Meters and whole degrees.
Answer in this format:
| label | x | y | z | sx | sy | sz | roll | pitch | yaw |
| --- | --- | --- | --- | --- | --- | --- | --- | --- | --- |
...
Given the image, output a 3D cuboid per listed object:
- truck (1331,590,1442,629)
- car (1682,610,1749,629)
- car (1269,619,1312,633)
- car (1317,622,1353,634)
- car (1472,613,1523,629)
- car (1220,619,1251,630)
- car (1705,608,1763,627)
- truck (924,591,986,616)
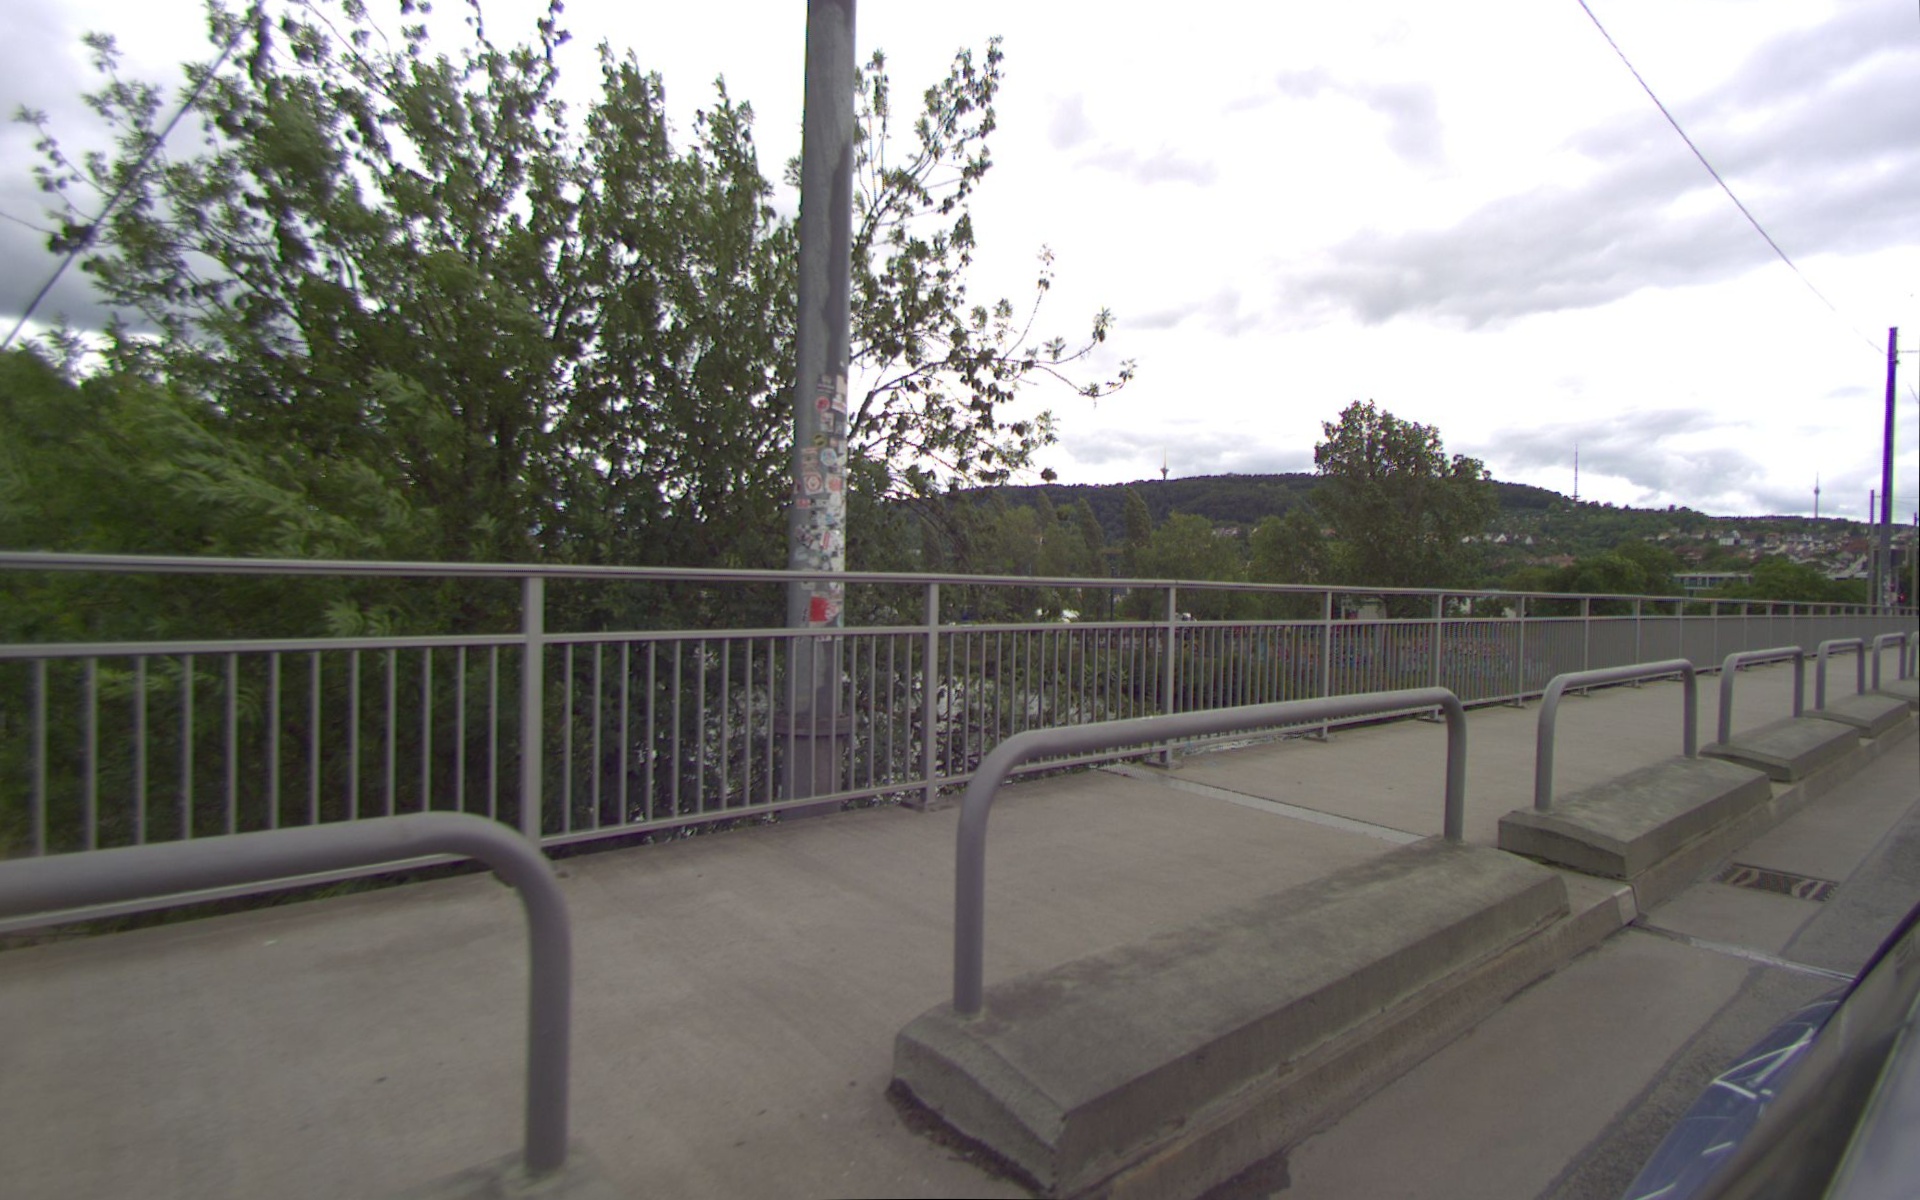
| label | x | y | z | sx | sy | sz | roll | pitch | yaw |
| --- | --- | --- | --- | --- | --- | --- | --- | --- | --- |
| truck | 44.598 | 0.942 | 106.222 | 3.173 | 3.928 | 10.403 | 2 | -1 | -43 |
| car | 65.430 | 1.665 | 87.690 | 1.965 | 1.640 | 4.335 | -1 | 0 | -41 |
| car | 38.022 | 2.931 | 116.377 | 1.889 | 1.559 | 4.383 | 0 | -1 | -42 |
| car | 51.549 | 3.817 | 139.178 | 2.246 | 1.559 | 4.018 | 0 | -1 | -41 |
| car | 52.031 | 2.014 | 97.936 | 1.667 | 1.559 | 4.039 | 0 | -1 | -42 |
| car | 40.787 | 3.619 | 149.891 | 1.822 | 1.559 | 4.018 | 0 | -1 | -41 |
| car | 64.240 | 1.417 | 84.055 | 1.667 | 1.559 | 3.616 | 0 | -1 | -42 |
| truck | -1.131 | 0.625 | 197.325 | 3.322 | 3.964 | 14.413 | 2 | 3 | -41 |
